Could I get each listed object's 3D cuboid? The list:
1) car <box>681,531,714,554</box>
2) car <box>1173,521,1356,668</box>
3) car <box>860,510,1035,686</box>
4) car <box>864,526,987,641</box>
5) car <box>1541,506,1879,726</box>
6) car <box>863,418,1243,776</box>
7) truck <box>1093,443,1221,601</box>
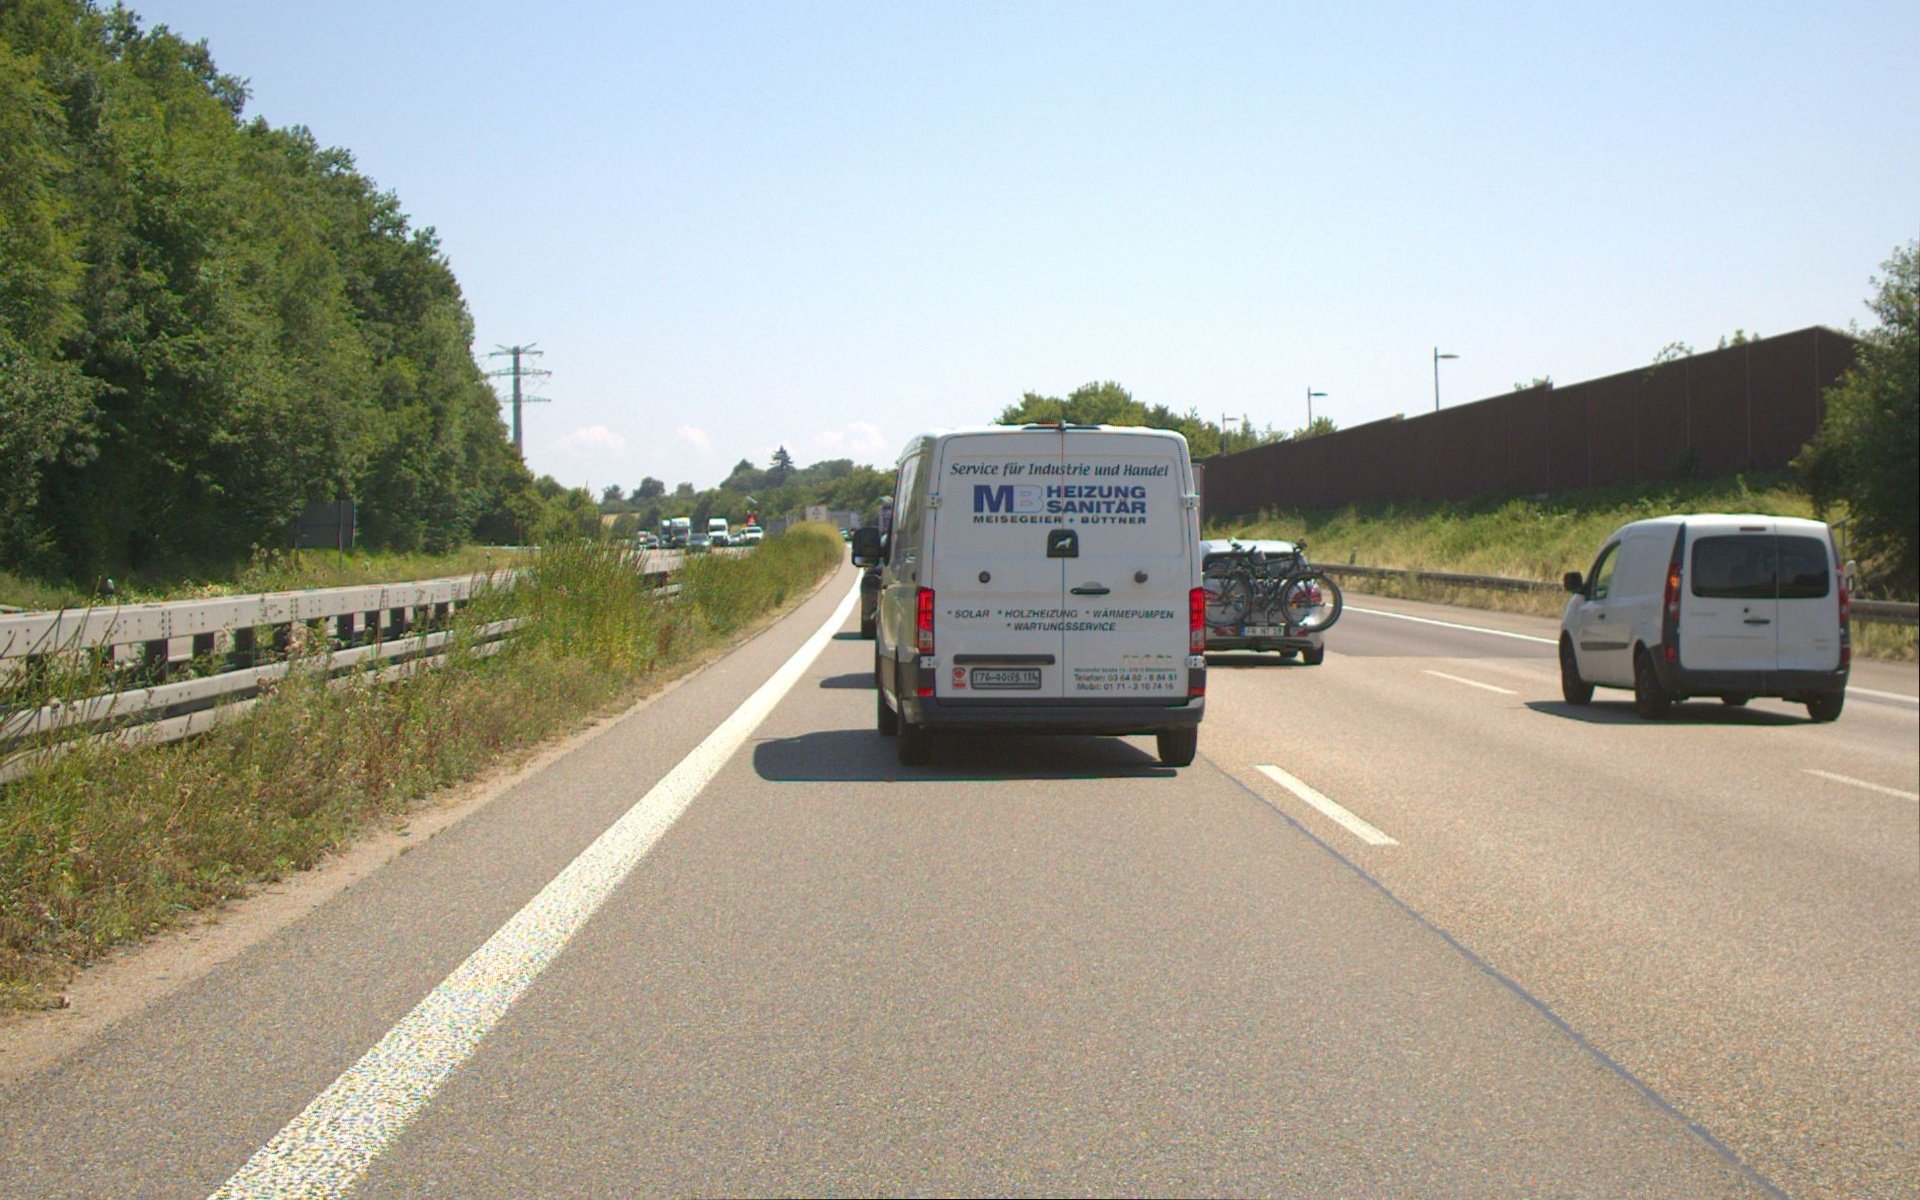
[{"bbox_3d":[-18.675,-4.097,244.766,1.993,1.514,4.722,-2,1,-1],"label":"car"},{"bbox_3d":[3.753,-0.081,42.960,1.976,1.727,4.088,-1,0,1],"label":"car"},{"bbox_3d":[-0.084,-0.034,36.887,1.745,1.758,4.088,-1,0,1],"label":"car"},{"bbox_3d":[-0.503,-0.262,53.723,1.745,1.695,4.088,-1,0,2],"label":"car"},{"bbox_3d":[6.718,0.121,31.269,1.950,1.831,4.179,-1,0,-3],"label":"car"},{"bbox_3d":[0.521,-0.039,24.488,2.181,2.246,5.364,1,0,-4],"label":"car"},{"bbox_3d":[6.564,-2.547,116.657,3.788,4.983,12.518,1,0,1],"label":"truck"}]
